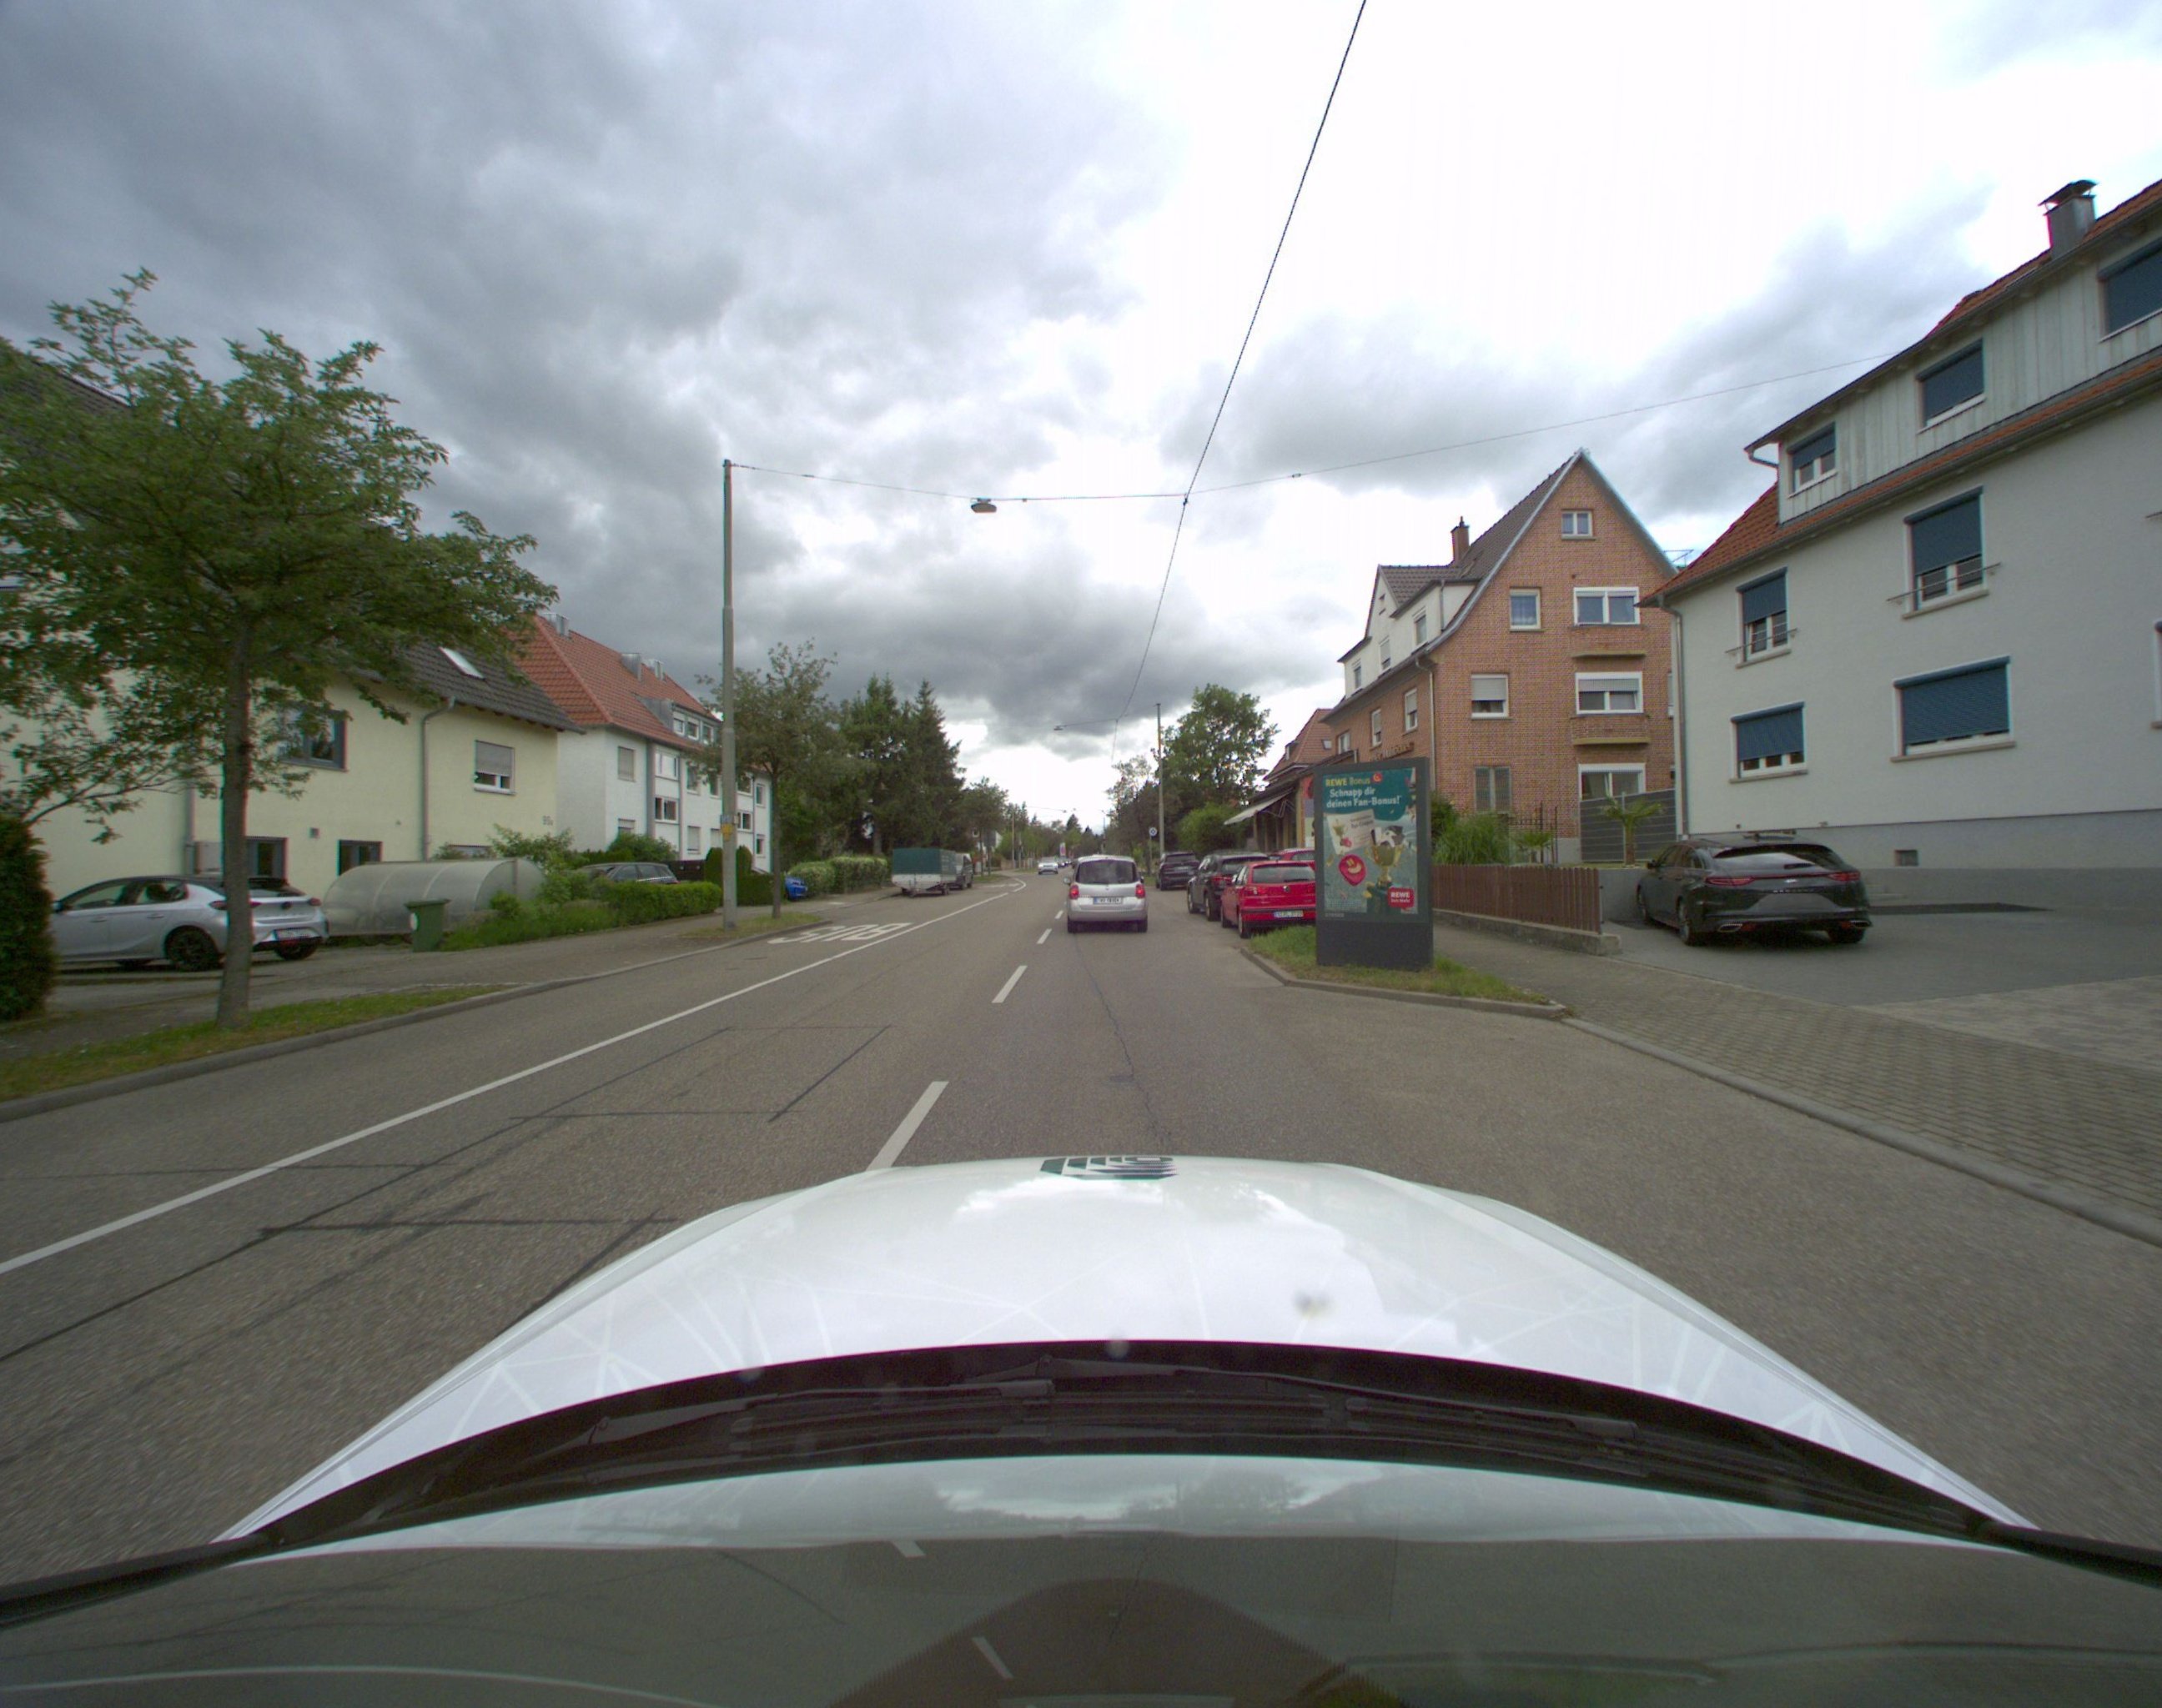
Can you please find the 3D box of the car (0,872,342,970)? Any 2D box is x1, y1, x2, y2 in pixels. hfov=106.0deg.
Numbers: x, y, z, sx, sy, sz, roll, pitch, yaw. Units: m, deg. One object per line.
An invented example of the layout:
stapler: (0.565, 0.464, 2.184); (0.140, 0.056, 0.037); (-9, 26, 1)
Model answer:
car: (-14.246, 0.986, 12.539); (4.054, 1.286, 1.754); (-1, -1, -2)

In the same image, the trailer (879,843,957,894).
trailer: (-7.166, 0.669, 36.613); (2.305, 2.087, 5.870); (1, -1, 0)

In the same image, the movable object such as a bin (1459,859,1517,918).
movable object such as a bin: (7.918, 0.665, 15.863); (0.773, 1.104, 0.691); (-1, 0, 0)

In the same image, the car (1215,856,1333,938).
car: (3.735, 0.774, 16.309); (1.655, 1.393, 3.671); (-2, 0, 3)

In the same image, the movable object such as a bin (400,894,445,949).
movable object such as a bin: (-11.579, 1.173, 14.316); (0.571, 0.902, 0.549); (-2, -1, 45)

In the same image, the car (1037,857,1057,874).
car: (-3.276, 1.127, 77.737); (1.902, 1.618, 3.994); (0, -1, -4)

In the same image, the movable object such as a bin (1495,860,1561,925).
movable object such as a bin: (7.876, 0.668, 14.367); (0.773, 1.104, 0.691); (-1, 0, 0)

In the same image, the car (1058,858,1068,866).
car: (-3.202, 1.386, 144.007); (1.717, 1.411, 3.996); (1, -1, -2)

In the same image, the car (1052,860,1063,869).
car: (-3.709, 1.612, 126.644); (1.717, 1.411, 3.996); (1, -1, -2)

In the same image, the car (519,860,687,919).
car: (-12.514, 0.903, 21.669); (1.869, 1.417, 4.004); (0, -1, 4)

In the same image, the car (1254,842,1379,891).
car: (8.629, 0.447, 30.051); (3.984, 1.496, 1.805); (-4, 0, -8)

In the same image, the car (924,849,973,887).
car: (-7.083, 0.771, 44.014); (1.882, 1.922, 4.560); (1, -1, 0)

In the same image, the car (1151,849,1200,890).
car: (4.297, 0.716, 37.706); (1.806, 1.743, 3.999); (-2, -1, 0)

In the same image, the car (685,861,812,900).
car: (-12.079, 0.977, 29.826); (3.985, 1.338, 1.572); (1, -2, -9)

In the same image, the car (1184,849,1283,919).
car: (3.748, 0.695, 20.681); (1.658, 1.564, 4.096); (-1, 0, -1)

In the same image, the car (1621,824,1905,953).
car: (9.252, 0.371, 11.555); (1.802, 1.380, 4.505); (-5, -1, 24)

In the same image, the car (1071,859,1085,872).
car: (-0.350, 1.545, 111.687); (1.822, 1.676, 3.575); (-1, -1, 1)

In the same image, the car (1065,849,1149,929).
car: (0.579, 0.737, 17.961); (1.624, 1.557, 4.001); (1, -1, 2)
